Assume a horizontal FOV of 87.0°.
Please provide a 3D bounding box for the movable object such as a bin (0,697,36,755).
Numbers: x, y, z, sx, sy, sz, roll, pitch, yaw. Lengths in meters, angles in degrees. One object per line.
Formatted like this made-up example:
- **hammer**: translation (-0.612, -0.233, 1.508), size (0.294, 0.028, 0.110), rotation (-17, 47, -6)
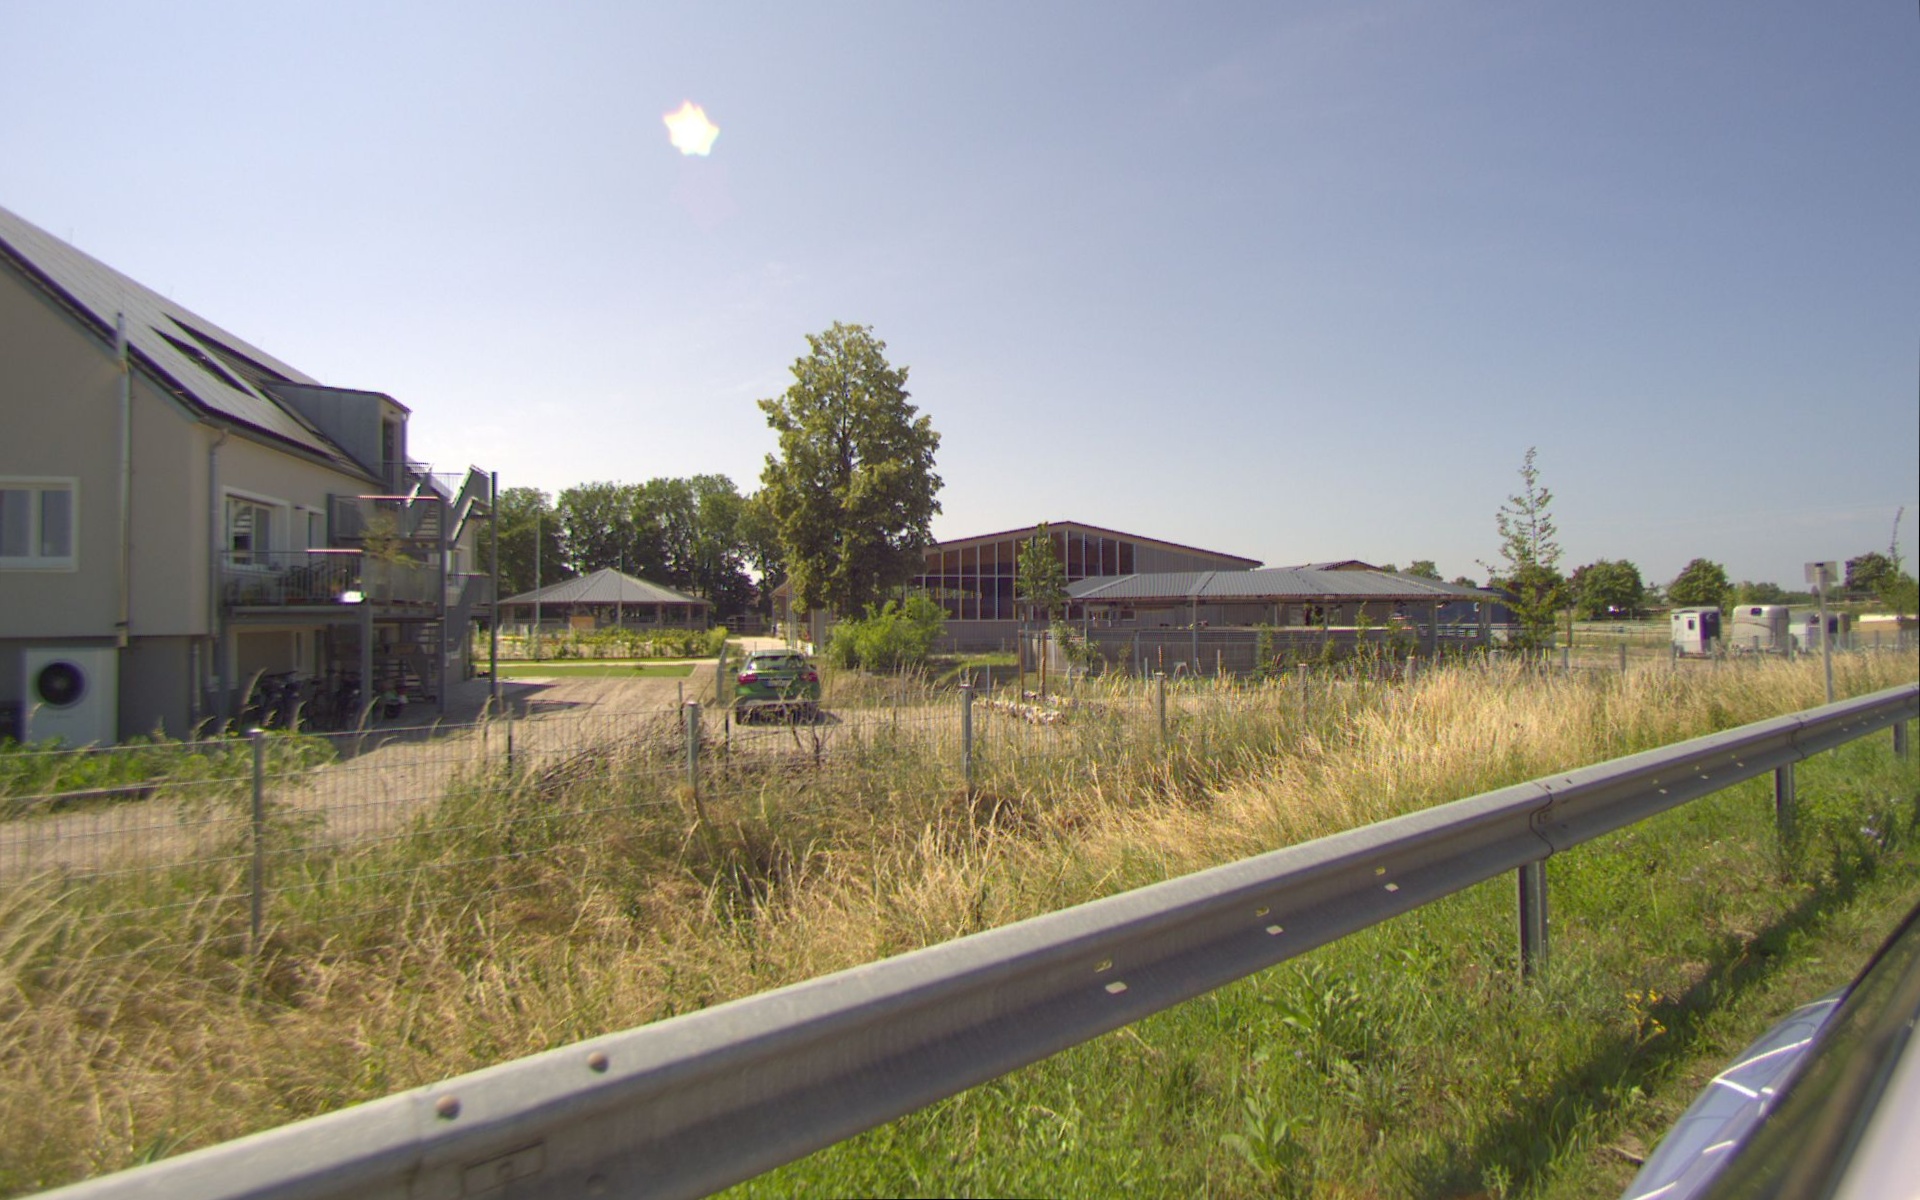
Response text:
- **movable object such as a bin**: translation (-16.120, 2.122, 17.111), size (0.548, 0.922, 0.504), rotation (0, -1, -9)

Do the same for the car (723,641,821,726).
- **car**: translation (-4.210, 1.757, 22.618), size (1.894, 1.601, 4.379), rotation (-2, -2, -11)

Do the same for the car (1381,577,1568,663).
- **car**: translation (24.149, 0.956, 48.263), size (2.721, 3.700, 9.011), rotation (0, -1, -13)

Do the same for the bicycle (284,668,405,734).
- **bicycle**: translation (-12.173, 1.982, 20.060), size (1.929, 1.207, 0.715), rotation (-1, -2, -9)

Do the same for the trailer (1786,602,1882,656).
- **trailer**: translation (46.690, 1.520, 54.195), size (1.797, 2.663, 4.537), rotation (2, -1, 11)

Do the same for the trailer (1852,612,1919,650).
- **trailer**: translation (63.409, 2.119, 68.594), size (1.967, 2.422, 4.093), rotation (-1, -3, -3)

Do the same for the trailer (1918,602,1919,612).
- **trailer**: translation (72.100, 1.345, 73.998), size (1.984, 2.843, 3.337), rotation (-9, -8, 32)

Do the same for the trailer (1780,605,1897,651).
- **trailer**: translation (54.073, 1.700, 62.444), size (2.163, 2.723, 5.195), rotation (0, -1, -10)

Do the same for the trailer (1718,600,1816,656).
- **trailer**: translation (43.204, 1.452, 54.372), size (2.202, 2.901, 5.020), rotation (0, -1, 15)

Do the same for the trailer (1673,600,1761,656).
- **trailer**: translation (39.465, 1.424, 52.914), size (2.144, 2.704, 4.461), rotation (0, 1, 15)

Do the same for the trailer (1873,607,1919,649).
- **trailer**: translation (66.534, 1.963, 70.701), size (2.120, 2.841, 3.426), rotation (-1, -1, -12)

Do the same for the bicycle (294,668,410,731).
- **bicycle**: translation (-12.571, 2.043, 20.978), size (1.929, 1.207, 0.715), rotation (-1, -2, -10)
